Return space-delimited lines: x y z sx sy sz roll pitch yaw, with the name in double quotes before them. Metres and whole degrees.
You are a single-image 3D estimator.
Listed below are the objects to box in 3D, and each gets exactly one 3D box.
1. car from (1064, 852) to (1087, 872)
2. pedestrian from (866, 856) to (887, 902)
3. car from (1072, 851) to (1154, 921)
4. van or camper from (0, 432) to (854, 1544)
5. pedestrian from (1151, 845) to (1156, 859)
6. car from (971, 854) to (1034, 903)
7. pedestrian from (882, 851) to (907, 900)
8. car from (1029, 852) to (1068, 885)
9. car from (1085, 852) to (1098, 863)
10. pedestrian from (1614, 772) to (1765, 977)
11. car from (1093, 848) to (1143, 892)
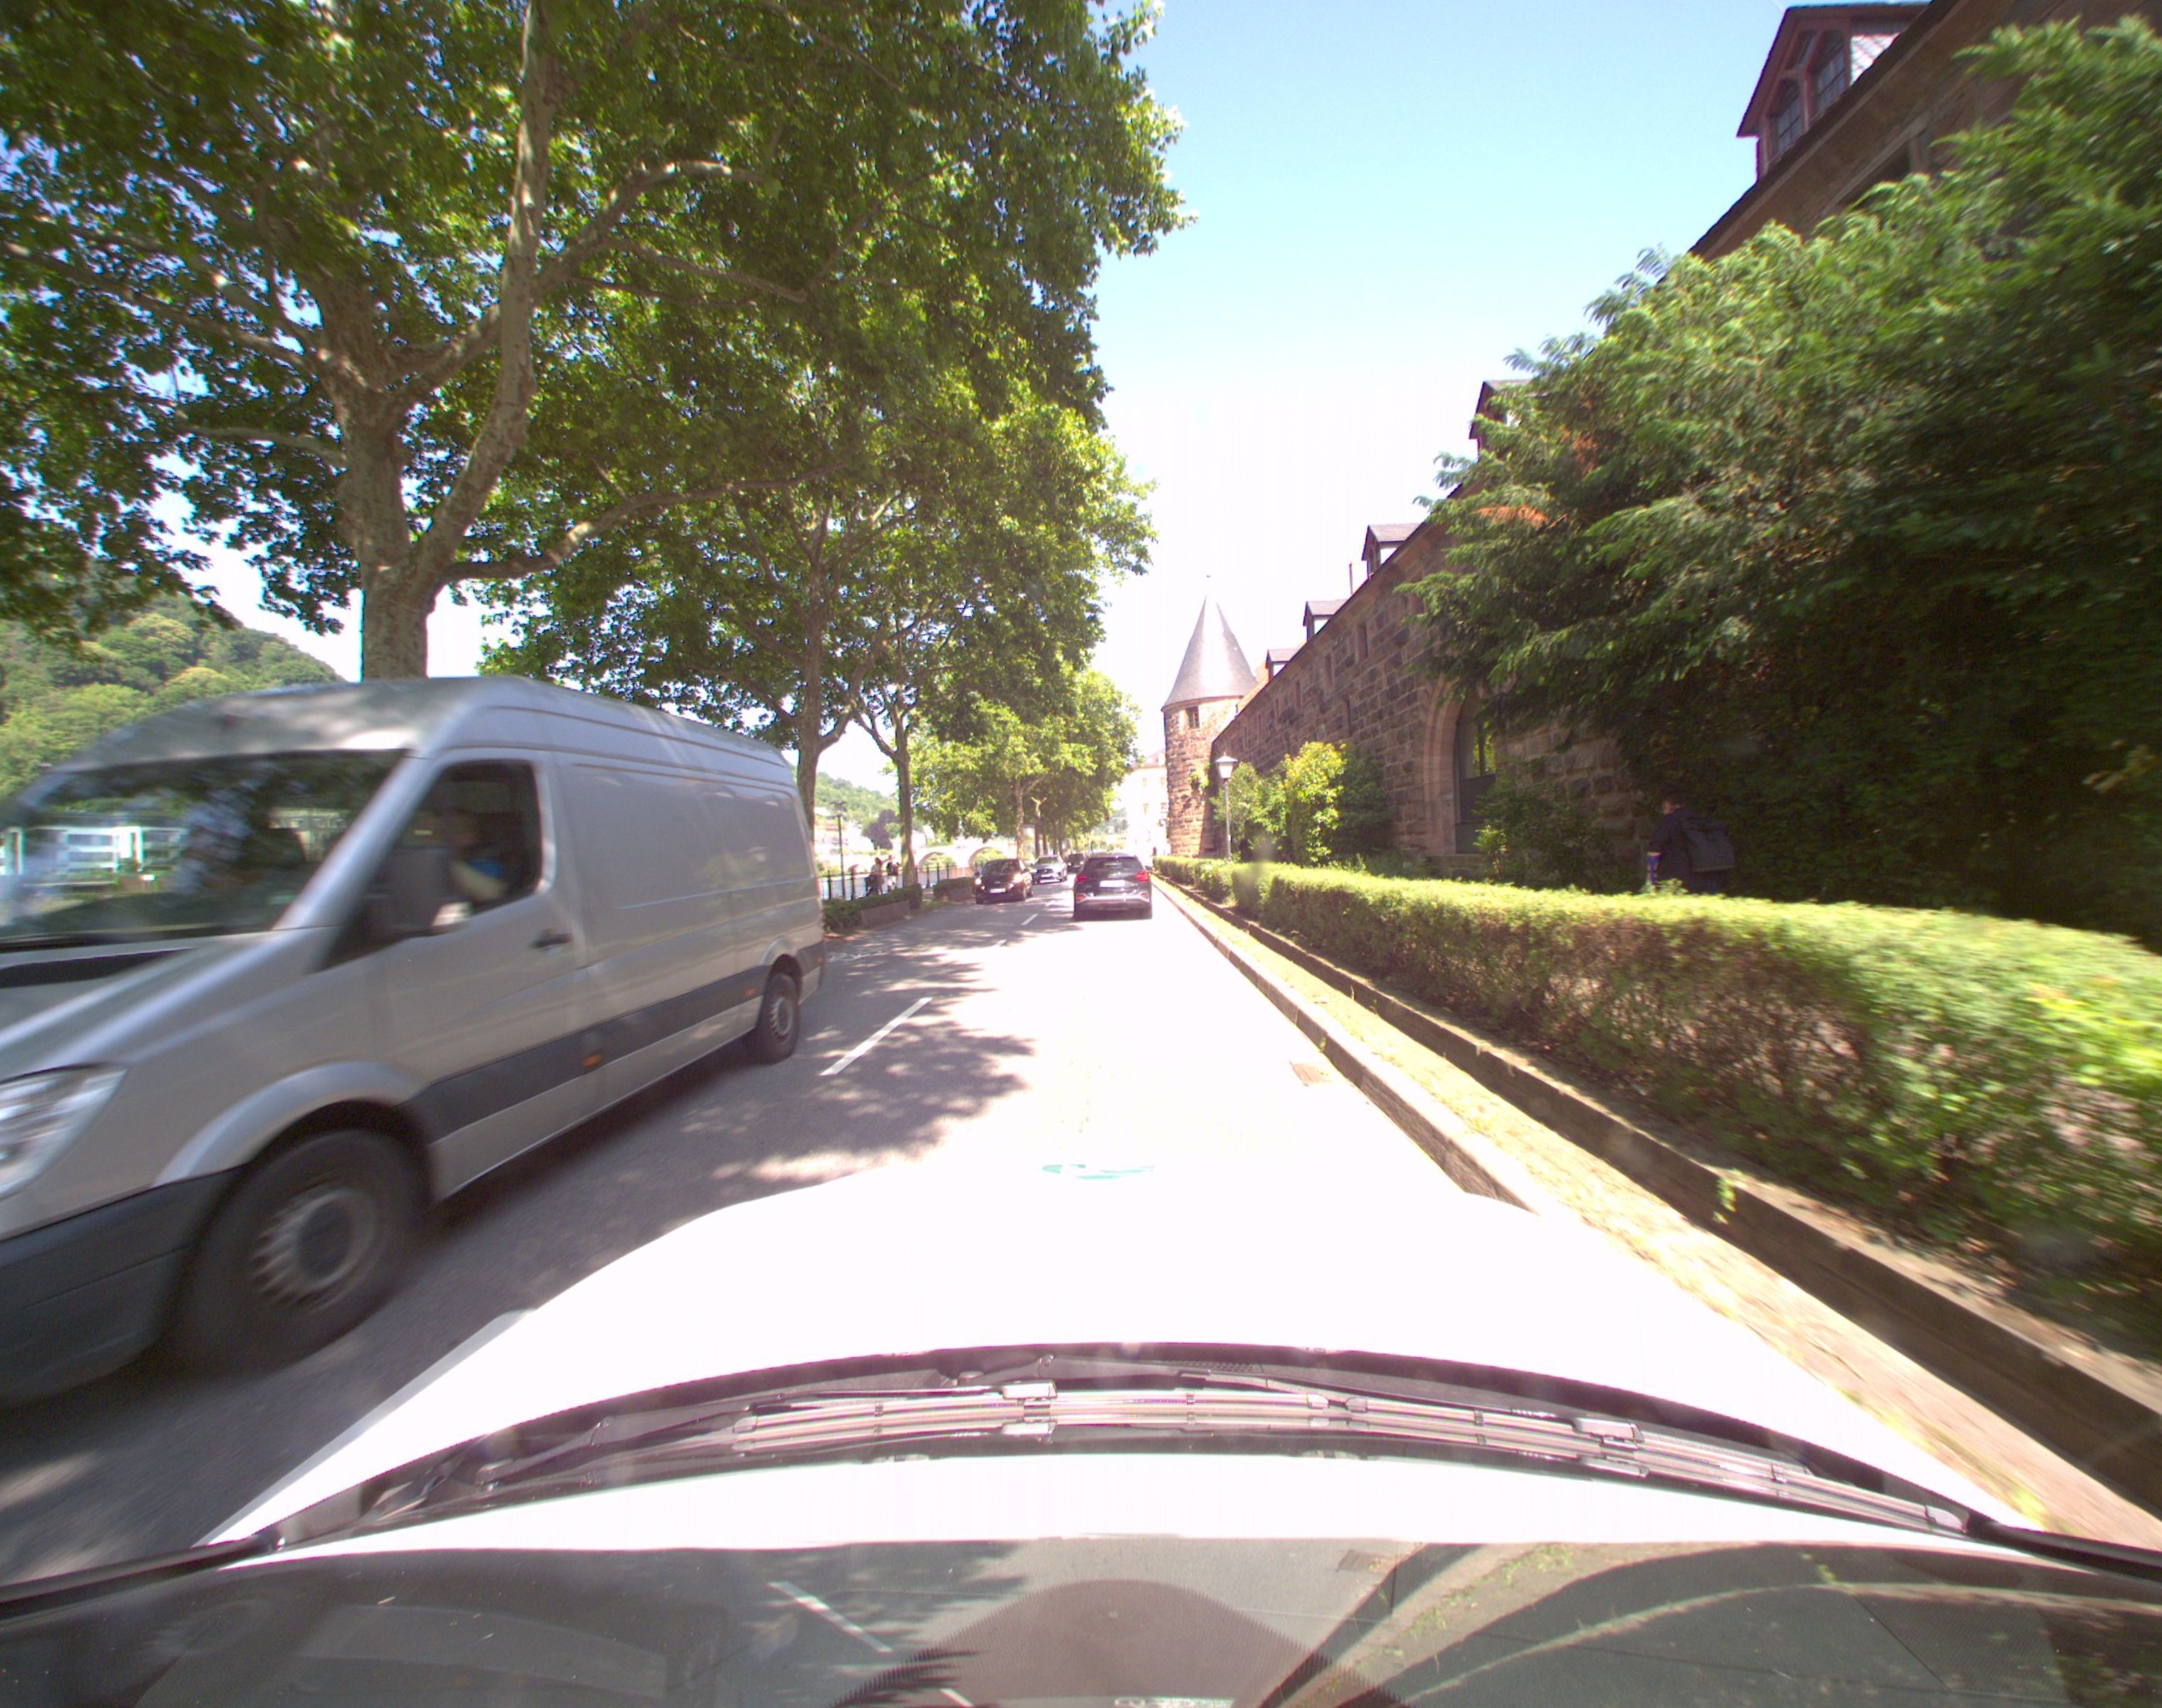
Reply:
"car" -0.500 0.686 75.105 1.756 1.647 4.094 -4 0 4
"pedestrian" -8.069 0.972 32.135 0.514 1.768 0.592 -4 0 3
"car" 0.741 0.688 19.417 1.742 1.494 3.630 -1 0 1
"van or camper" -3.344 0.351 4.778 1.953 2.567 5.844 -5 0 3
"pedestrian" 8.696 -0.196 97.535 0.554 1.633 0.661 -1 -1 3
"car" -2.671 0.799 28.517 1.643 1.469 3.781 -5 0 2
"pedestrian" -7.446 0.854 32.571 0.638 1.870 0.806 -4 0 3
"car" -1.837 0.820 47.285 1.870 1.698 4.260 -5 0 2
"car" 1.608 0.509 119.015 1.607 1.523 3.480 -4 0 4
"pedestrian" 5.255 0.167 7.077 0.695 1.652 0.706 -4 0 5
"car" 1.490 0.606 32.708 1.794 1.562 3.719 -4 0 3
